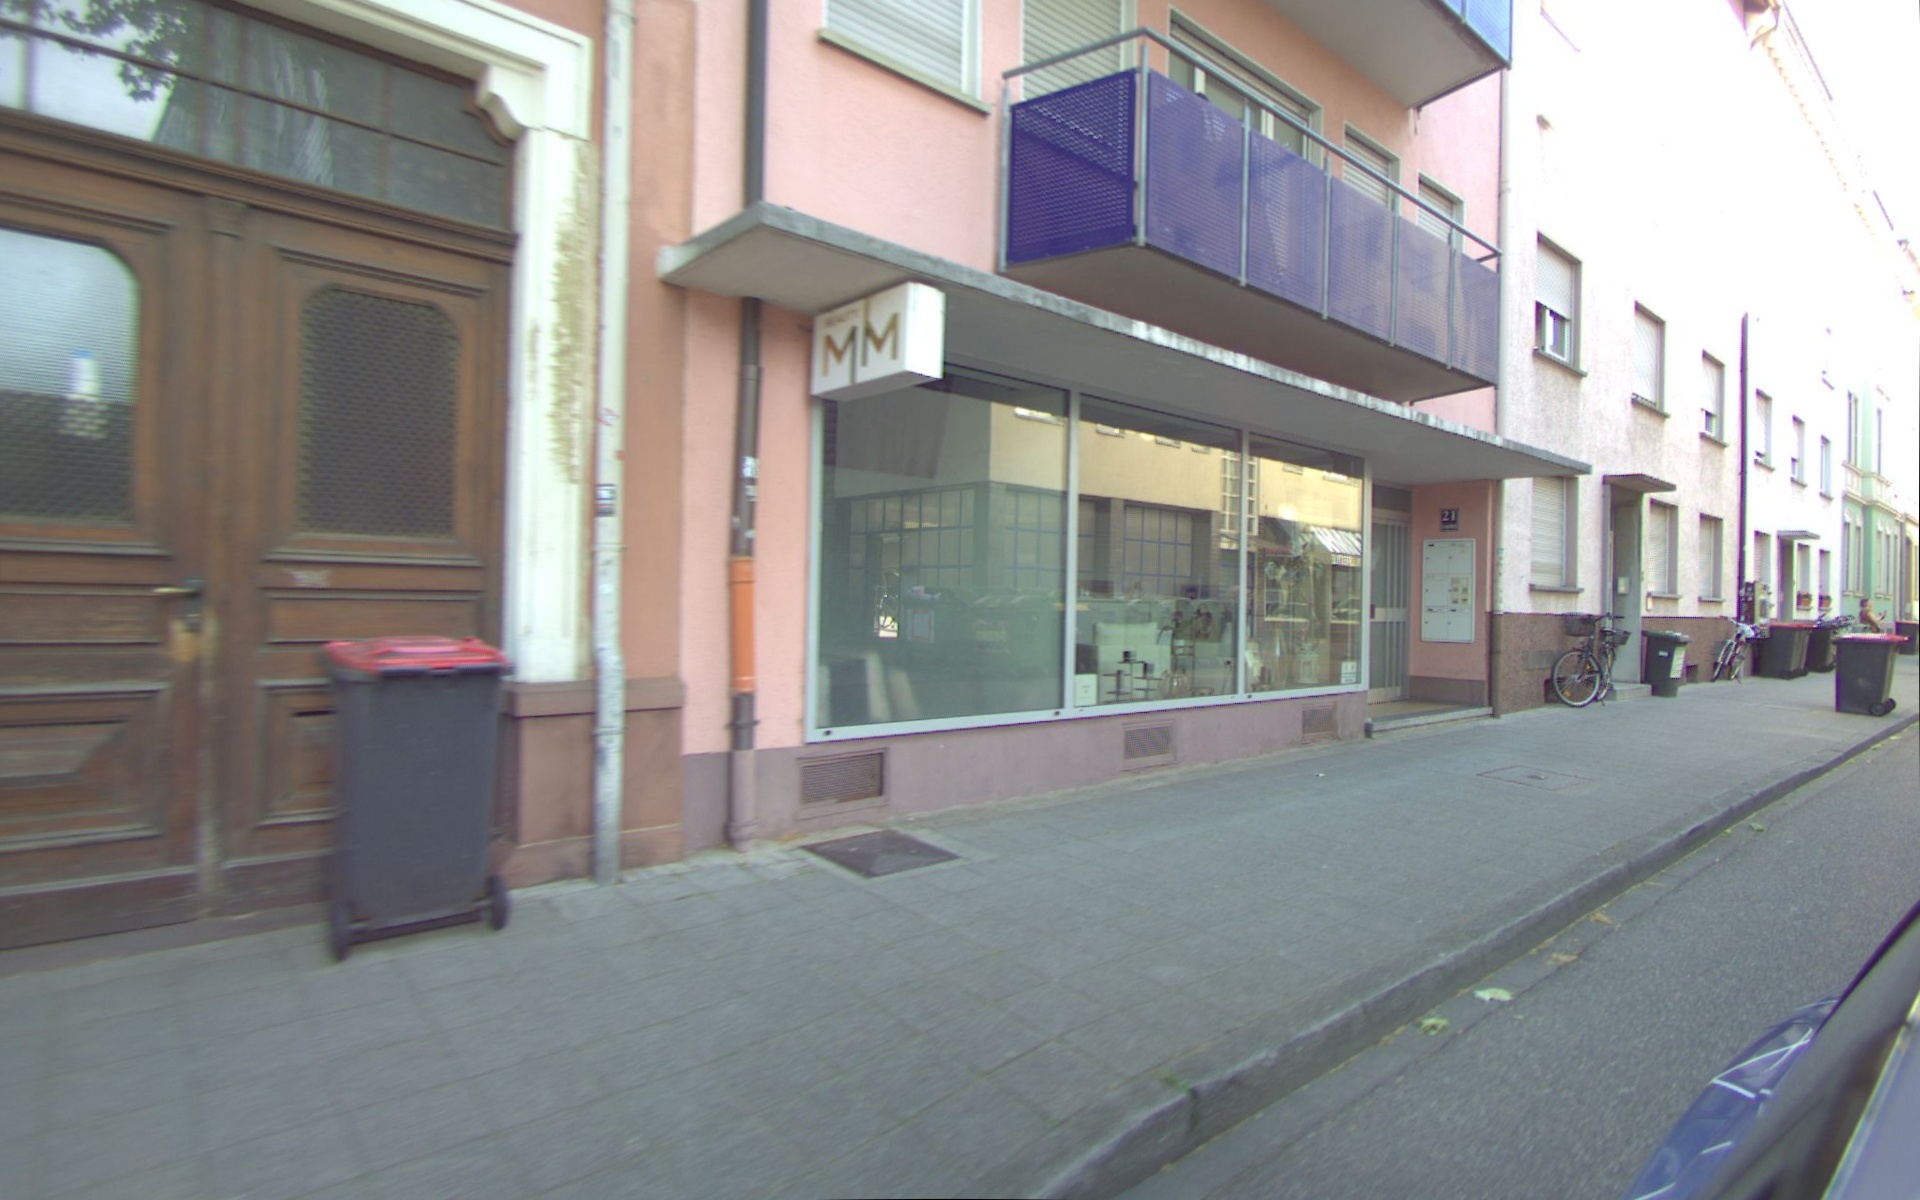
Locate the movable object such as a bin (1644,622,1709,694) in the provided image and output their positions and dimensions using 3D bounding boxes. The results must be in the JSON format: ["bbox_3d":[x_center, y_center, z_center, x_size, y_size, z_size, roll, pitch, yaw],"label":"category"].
[{"bbox_3d":[10.227,0.806,14.438,0.670,0.963,0.599,0,1,-40],"label":"movable object such as a bin"}]

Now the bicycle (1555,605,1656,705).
[{"bbox_3d":[8.147,0.655,12.734,1.885,1.148,0.454,0,3,-39],"label":"bicycle"}]

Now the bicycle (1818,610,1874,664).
[{"bbox_3d":[20.244,0.831,23.124,1.833,1.168,0.570,0,1,-36],"label":"bicycle"}]

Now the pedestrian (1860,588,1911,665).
[{"bbox_3d":[21.367,0.597,23.367,0.672,1.733,0.658,0,0,-28],"label":"pedestrian"}]

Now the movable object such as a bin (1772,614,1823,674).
[{"bbox_3d":[16.358,0.847,19.766,0.582,1.119,0.658,1,0,-39],"label":"movable object such as a bin"}]

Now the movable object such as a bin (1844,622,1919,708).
[{"bbox_3d":[12.767,0.876,13.975,0.691,1.094,0.734,0,1,-39],"label":"movable object such as a bin"}]

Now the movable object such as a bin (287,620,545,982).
[{"bbox_3d":[-2.010,0.651,3.732,0.681,1.118,0.730,0,1,-43],"label":"movable object such as a bin"}]

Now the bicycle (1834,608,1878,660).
[{"bbox_3d":[21.954,0.809,24.793,2.120,1.221,0.406,0,1,-38],"label":"bicycle"}]

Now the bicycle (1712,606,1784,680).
[{"bbox_3d":[13.771,0.719,17.673,2.040,1.184,0.538,1,4,-42],"label":"bicycle"}]

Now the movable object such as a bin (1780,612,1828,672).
[{"bbox_3d":[16.783,0.819,20.119,0.559,1.136,0.629,0,1,-39],"label":"movable object such as a bin"}]

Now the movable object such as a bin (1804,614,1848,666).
[{"bbox_3d":[18.804,0.862,21.970,0.592,1.075,0.617,1,1,-41],"label":"movable object such as a bin"}]

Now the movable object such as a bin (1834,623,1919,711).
[{"bbox_3d":[12.244,0.872,13.508,0.680,1.100,0.769,0,1,-39],"label":"movable object such as a bin"}]

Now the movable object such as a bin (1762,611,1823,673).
[{"bbox_3d":[15.928,0.792,19.371,0.628,1.111,0.741,0,3,-39],"label":"movable object such as a bin"}]

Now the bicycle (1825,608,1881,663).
[{"bbox_3d":[21.042,0.817,23.837,2.222,1.221,0.439,0,1,-34],"label":"bicycle"}]

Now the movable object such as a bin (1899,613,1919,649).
[{"bbox_3d":[30.042,0.962,31.699,0.661,1.102,0.814,0,1,-38],"label":"movable object such as a bin"}]
